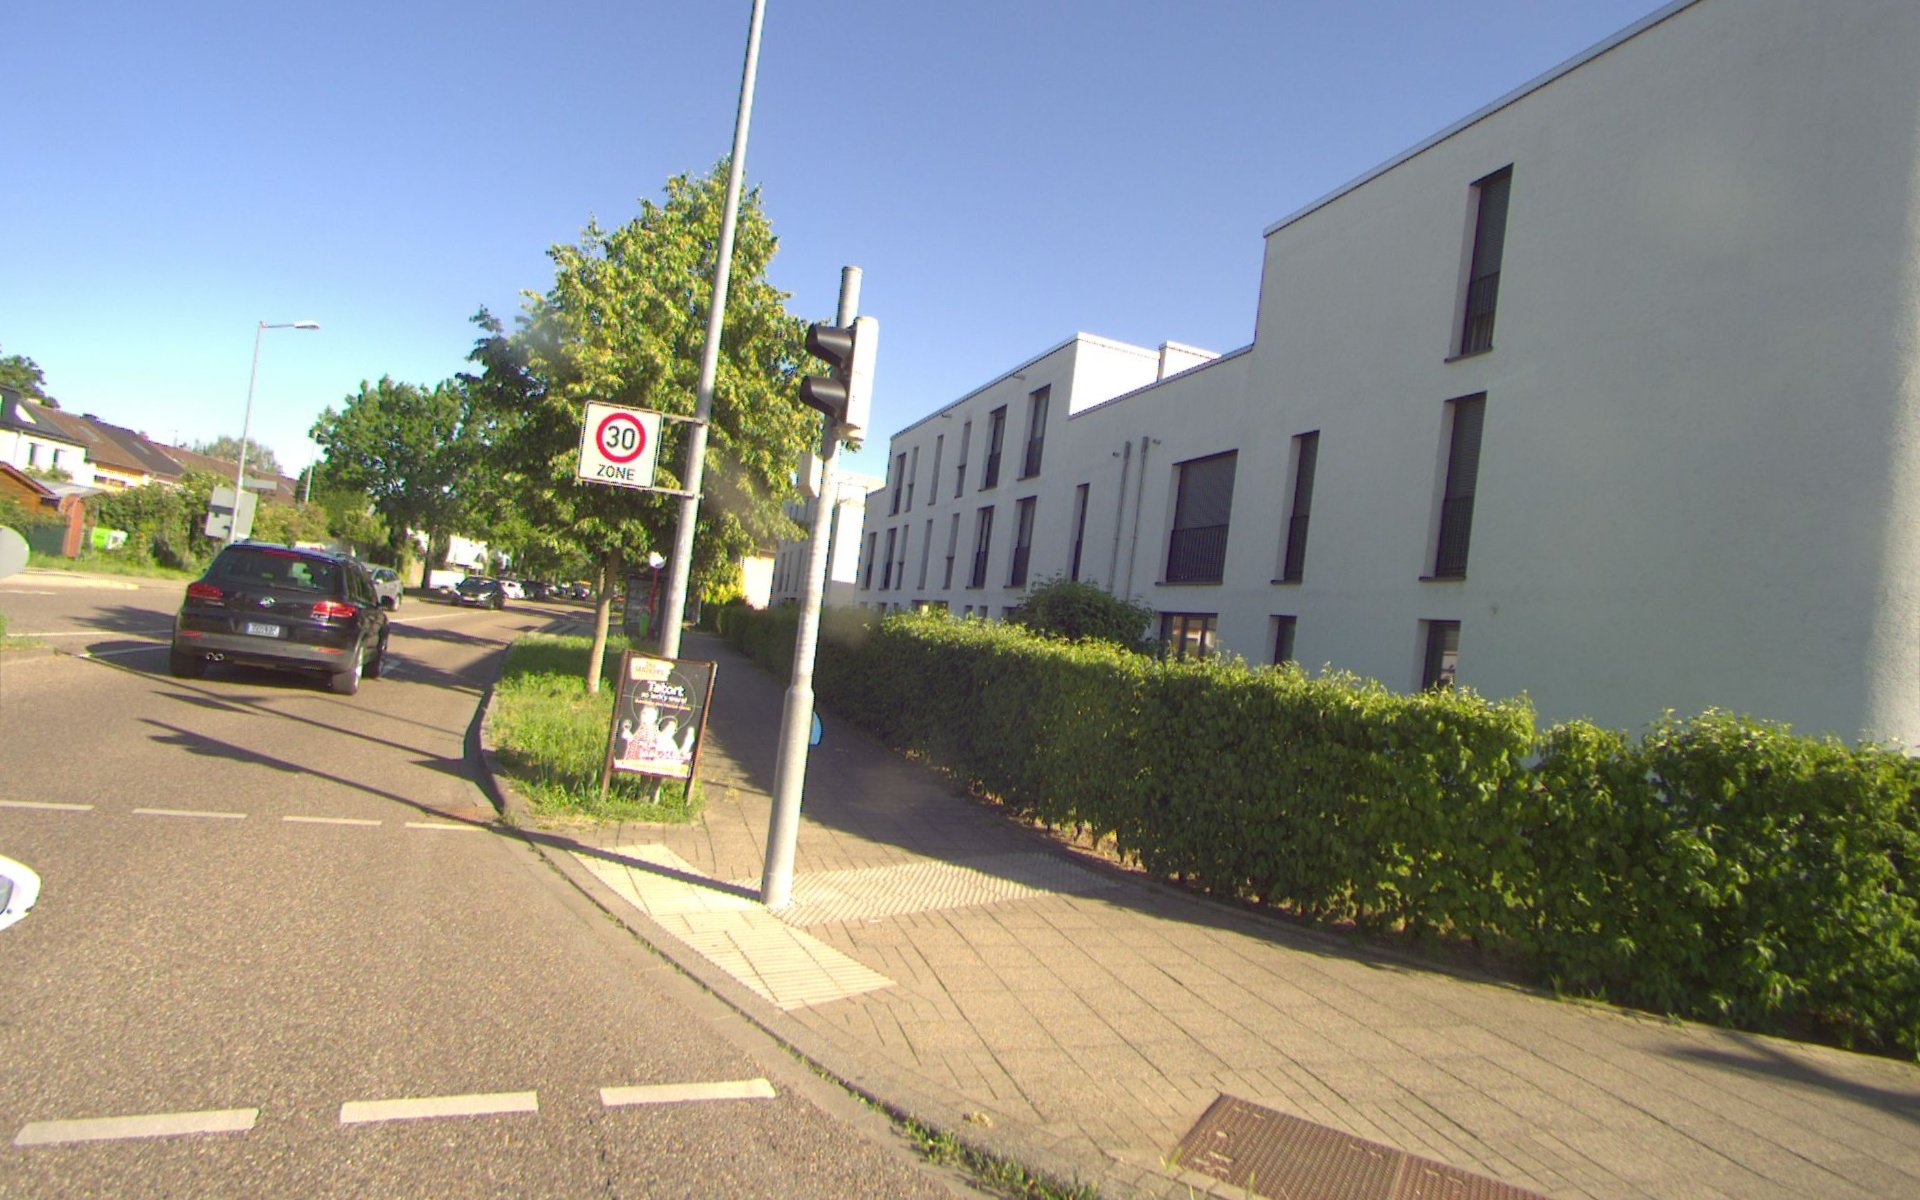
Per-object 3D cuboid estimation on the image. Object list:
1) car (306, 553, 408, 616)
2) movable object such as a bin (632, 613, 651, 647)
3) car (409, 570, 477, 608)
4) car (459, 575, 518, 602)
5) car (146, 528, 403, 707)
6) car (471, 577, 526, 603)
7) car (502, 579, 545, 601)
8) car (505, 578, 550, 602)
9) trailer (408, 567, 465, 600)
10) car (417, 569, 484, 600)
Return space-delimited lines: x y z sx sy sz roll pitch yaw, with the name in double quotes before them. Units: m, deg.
"car" -19.785 -0.485 33.224 2.190 1.608 4.510 9 -3 -24
"movable object such as a bin" -10.212 0.947 32.249 0.365 1.028 0.596 8 -1 -27
"car" -24.800 -0.501 48.423 1.972 1.459 4.436 10 -3 -17
"car" -38.683 -0.922 82.627 3.941 1.689 1.994 8 -2 -17
"car" -8.527 0.176 12.980 1.914 1.672 4.486 10 -3 -26
"car" -40.184 -0.845 87.739 3.941 1.658 1.994 8 -2 -17
"car" -46.994 -1.077 108.423 3.944 1.739 1.815 9 -3 -19
"car" -47.610 -1.124 110.813 4.348 1.960 1.572 9 -3 -23
"trailer" -33.066 -1.031 63.599 2.937 1.675 1.390 8 -2 -22
"car" -33.283 -0.983 65.824 3.509 1.494 1.802 8 -2 -18
